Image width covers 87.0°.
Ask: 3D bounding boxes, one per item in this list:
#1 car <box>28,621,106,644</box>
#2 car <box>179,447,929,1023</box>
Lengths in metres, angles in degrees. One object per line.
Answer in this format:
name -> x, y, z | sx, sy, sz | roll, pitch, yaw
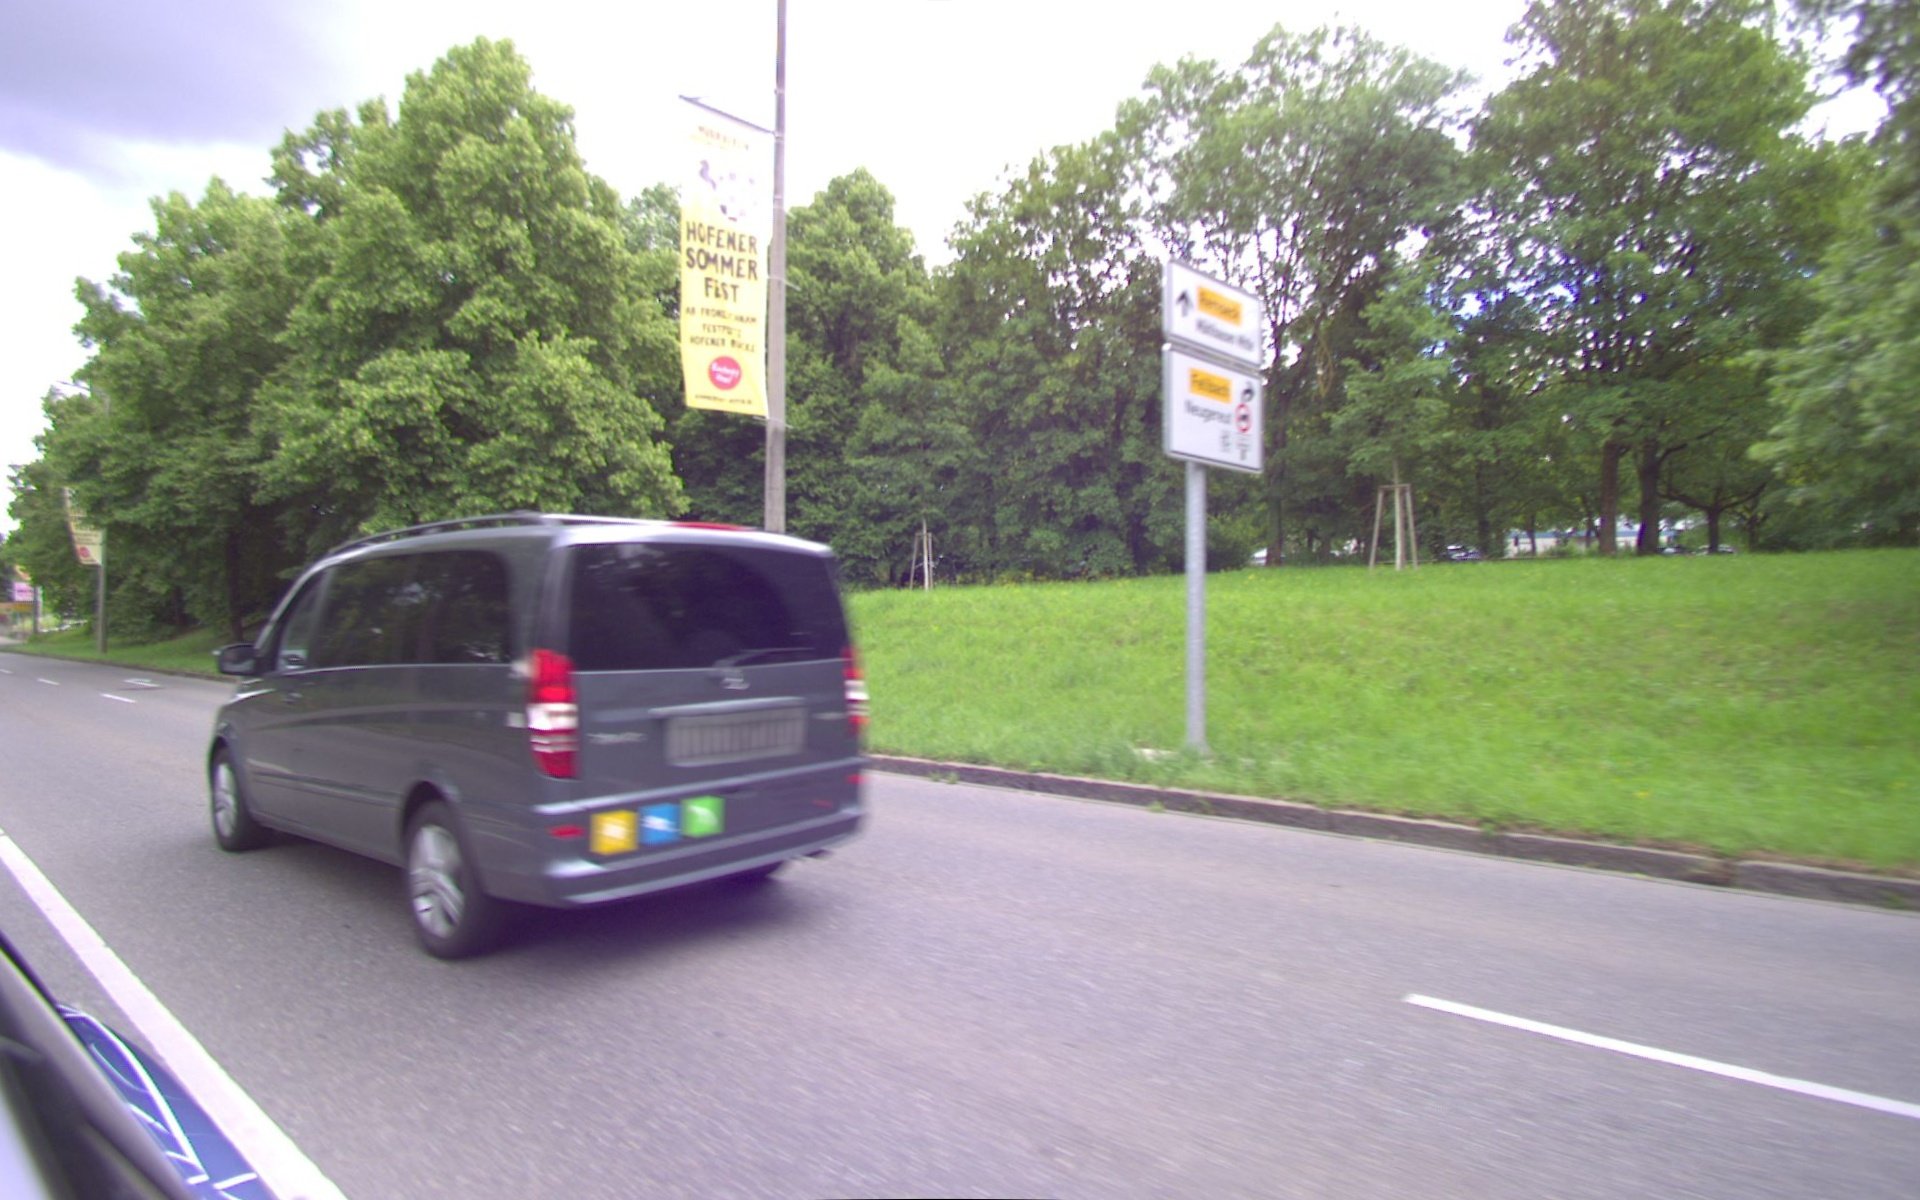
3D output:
car -> -67.757, 2.448, 76.853 | 1.746, 1.503, 4.169 | -3, -2, 37
car -> -2.733, 0.496, 5.937 | 5.181, 1.970, 1.972 | -1, -1, 42
